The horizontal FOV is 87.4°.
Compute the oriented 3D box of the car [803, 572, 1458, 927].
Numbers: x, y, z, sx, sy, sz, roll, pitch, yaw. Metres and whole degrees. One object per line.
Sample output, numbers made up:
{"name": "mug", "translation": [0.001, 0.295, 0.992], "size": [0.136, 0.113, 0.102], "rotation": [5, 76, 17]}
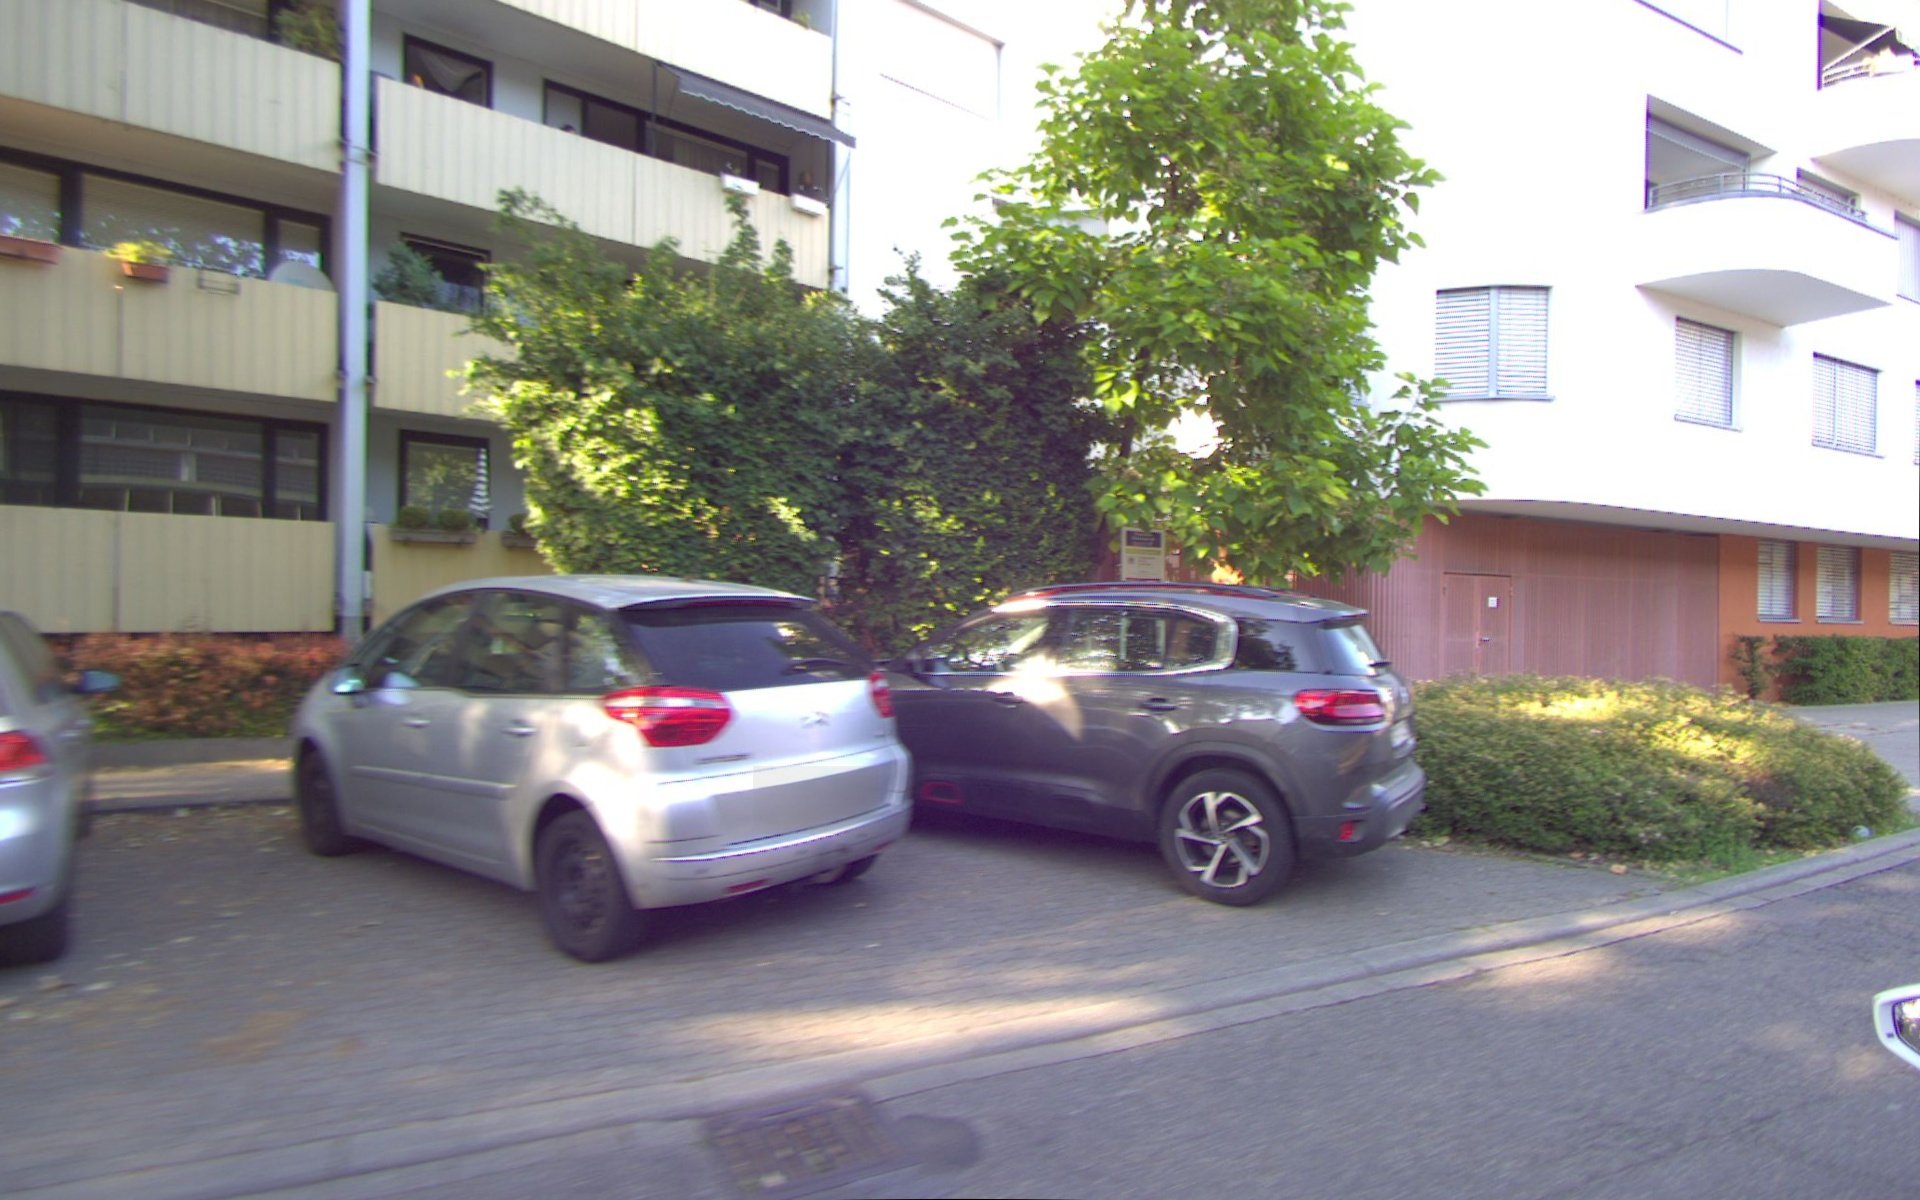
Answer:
{"name": "car", "translation": [1.005, 0.709, 6.633], "size": [3.892, 1.684, 1.695], "rotation": [2, 0, 33]}

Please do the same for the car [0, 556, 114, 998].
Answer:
{"name": "car", "translation": [-5.004, 0.591, 4.598], "size": [1.686, 1.581, 3.607], "rotation": [2, 0, -40]}

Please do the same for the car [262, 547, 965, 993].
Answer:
{"name": "car", "translation": [-2.141, 0.607, 5.683], "size": [4.073, 1.662, 1.770], "rotation": [2, 0, 37]}
